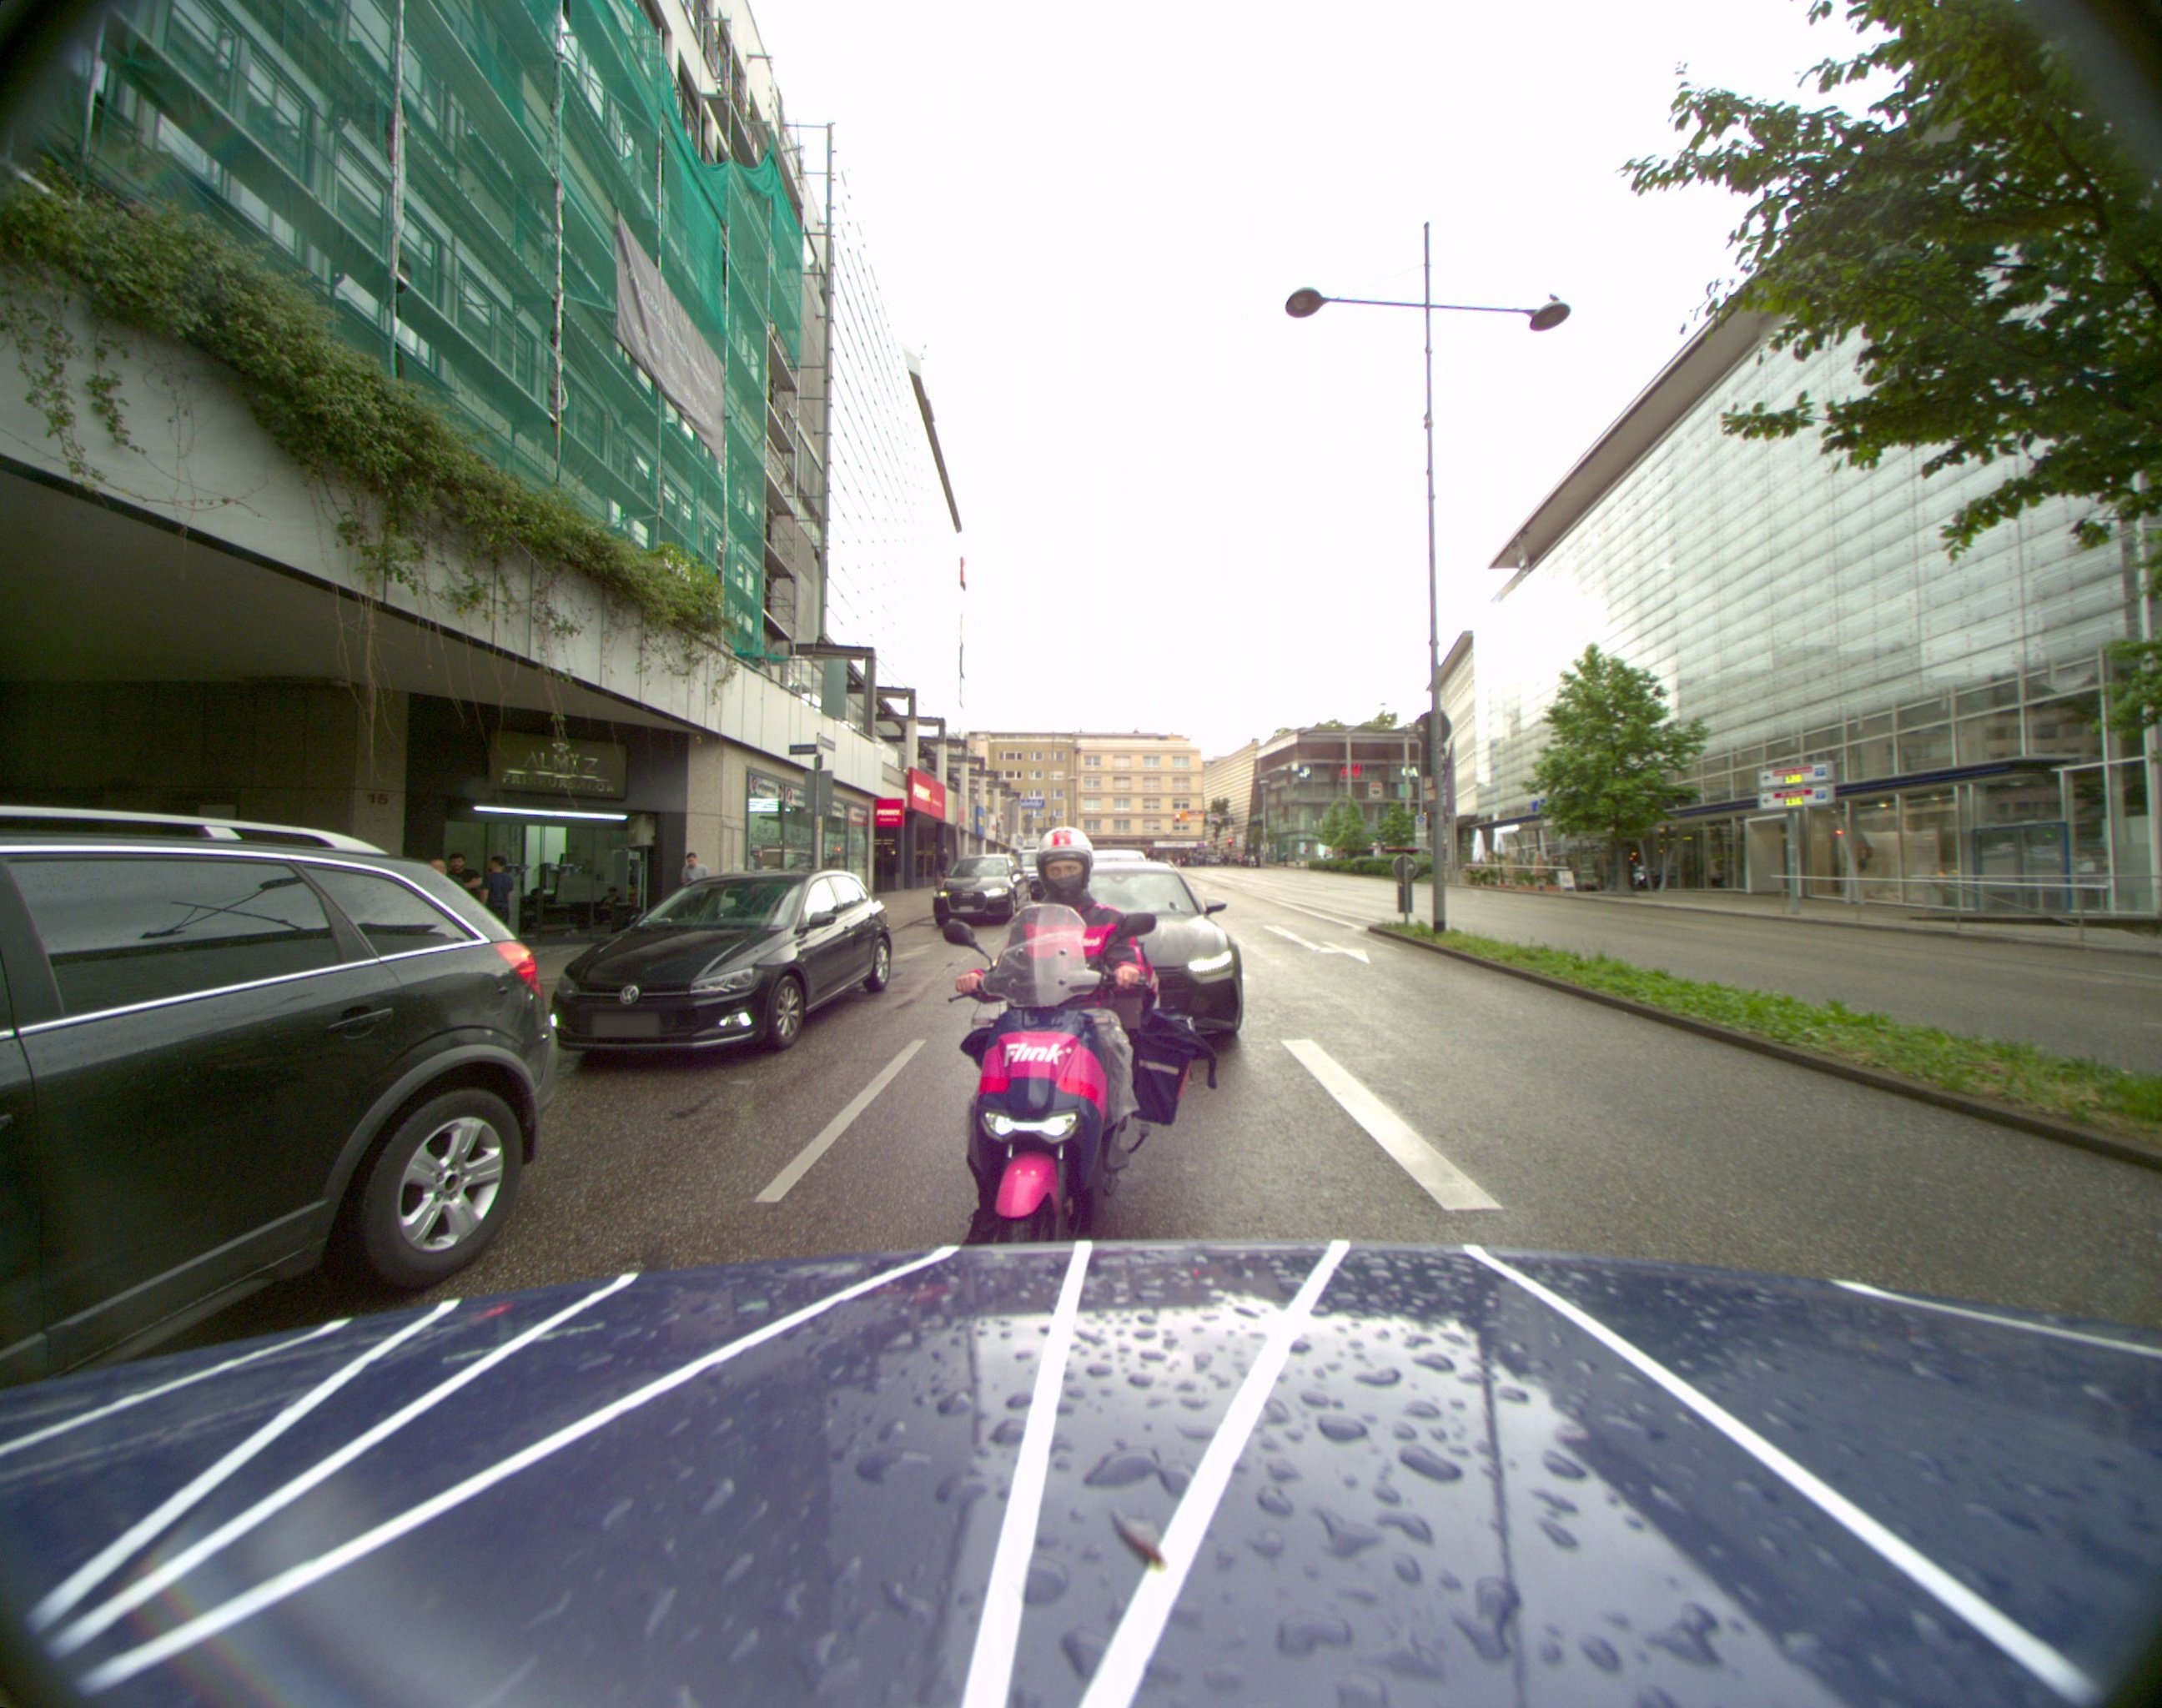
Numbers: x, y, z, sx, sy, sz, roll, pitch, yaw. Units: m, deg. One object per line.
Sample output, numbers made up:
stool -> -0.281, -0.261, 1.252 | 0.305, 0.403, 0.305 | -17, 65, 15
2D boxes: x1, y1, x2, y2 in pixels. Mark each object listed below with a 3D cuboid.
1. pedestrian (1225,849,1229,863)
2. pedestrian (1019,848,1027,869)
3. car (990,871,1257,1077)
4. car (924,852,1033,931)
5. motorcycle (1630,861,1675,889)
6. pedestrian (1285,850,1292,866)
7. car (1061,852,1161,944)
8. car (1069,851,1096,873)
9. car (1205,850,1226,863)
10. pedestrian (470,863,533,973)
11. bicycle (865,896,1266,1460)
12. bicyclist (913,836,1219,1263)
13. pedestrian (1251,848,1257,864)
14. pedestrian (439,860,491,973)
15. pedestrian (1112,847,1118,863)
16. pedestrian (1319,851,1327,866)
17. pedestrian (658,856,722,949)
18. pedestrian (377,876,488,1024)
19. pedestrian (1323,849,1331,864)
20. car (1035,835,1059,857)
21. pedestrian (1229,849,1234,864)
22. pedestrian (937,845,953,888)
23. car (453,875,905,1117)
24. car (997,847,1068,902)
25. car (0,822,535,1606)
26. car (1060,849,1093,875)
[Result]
pedestrian -> 16.748, 0.263, 87.113 | 0.428, 1.620, 0.602 | 1, 1, 3
pedestrian -> -4.039, 0.310, 52.515 | 0.510, 1.492, 0.579 | 0, 2, 0
car -> 0.395, 0.923, 7.593 | 1.890, 1.391, 4.165 | -2, -1, 2
car -> -2.316, 0.788, 18.304 | 1.841, 1.598, 4.164 | -2, 1, 2
motorcycle -> 28.086, 1.028, 37.381 | 1.707, 1.319, 0.620 | 0, 1, 1
pedestrian -> 23.188, 0.408, 84.983 | 0.626, 1.764, 0.689 | -2, 2, 5
car -> 0.600, 0.754, 15.191 | 1.675, 1.520, 4.164 | -2, 1, 2
car -> 0.138, 0.653, 63.019 | 1.988, 1.696, 4.165 | -2, -1, 2
car -> 21.630, 0.438, 122.366 | 2.000, 2.002, 4.584 | 0, 1, -7
pedestrian -> -8.759, 0.944, 11.514 | 0.640, 1.586, 0.576 | -3, 2, -32
bicycle -> -0.022, 0.960, 3.516 | 1.034, 1.279, 2.948 | -2, 1, 1
bicyclist -> -0.046, 0.711, 3.179 | 1.063, 1.534, 0.825 | -2, 2, 0
pedestrian -> 19.504, 0.251, 85.604 | 0.626, 1.764, 0.689 | -2, 2, 7
pedestrian -> -9.538, 0.946, 11.767 | 0.466, 1.698, 0.484 | 0, 2, 42
pedestrian -> 3.487, 0.094, 78.155 | 0.634, 1.620, 0.602 | 0, 1, -1
pedestrian -> 26.014, 0.480, 81.760 | 0.633, 1.620, 0.602 | 0, 1, 2
pedestrian -> -7.126, 0.870, 13.859 | 0.638, 1.633, 0.734 | -1, 2, 17
pedestrian -> -8.338, 1.202, 9.806 | 0.743, 1.805, 0.773 | 0, 1, 1
pedestrian -> 26.126, 0.277, 80.622 | 0.633, 1.620, 0.602 | 1, 1, 4
car -> -3.141, -0.790, 71.088 | 1.605, 2.002, 3.400 | -2, 1, 7
pedestrian -> 16.710, 0.252, 84.531 | 0.428, 1.620, 0.602 | 1, 1, 5
pedestrian -> -5.402, 0.487, 30.157 | 0.510, 1.669, 0.579 | 0, 2, 0
car -> -3.181, 1.012, 7.141 | 1.758, 1.495, 4.165 | -2, -1, 4
car -> -1.599, 0.670, 26.500 | 1.988, 1.696, 4.165 | -2, -1, 2
car -> -3.337, 0.827, 1.240 | 1.764, 1.755, 4.164 | -2, 0, 1
car -> -0.276, 0.557, 52.722 | 1.988, 1.696, 4.165 | -2, -1, 2
